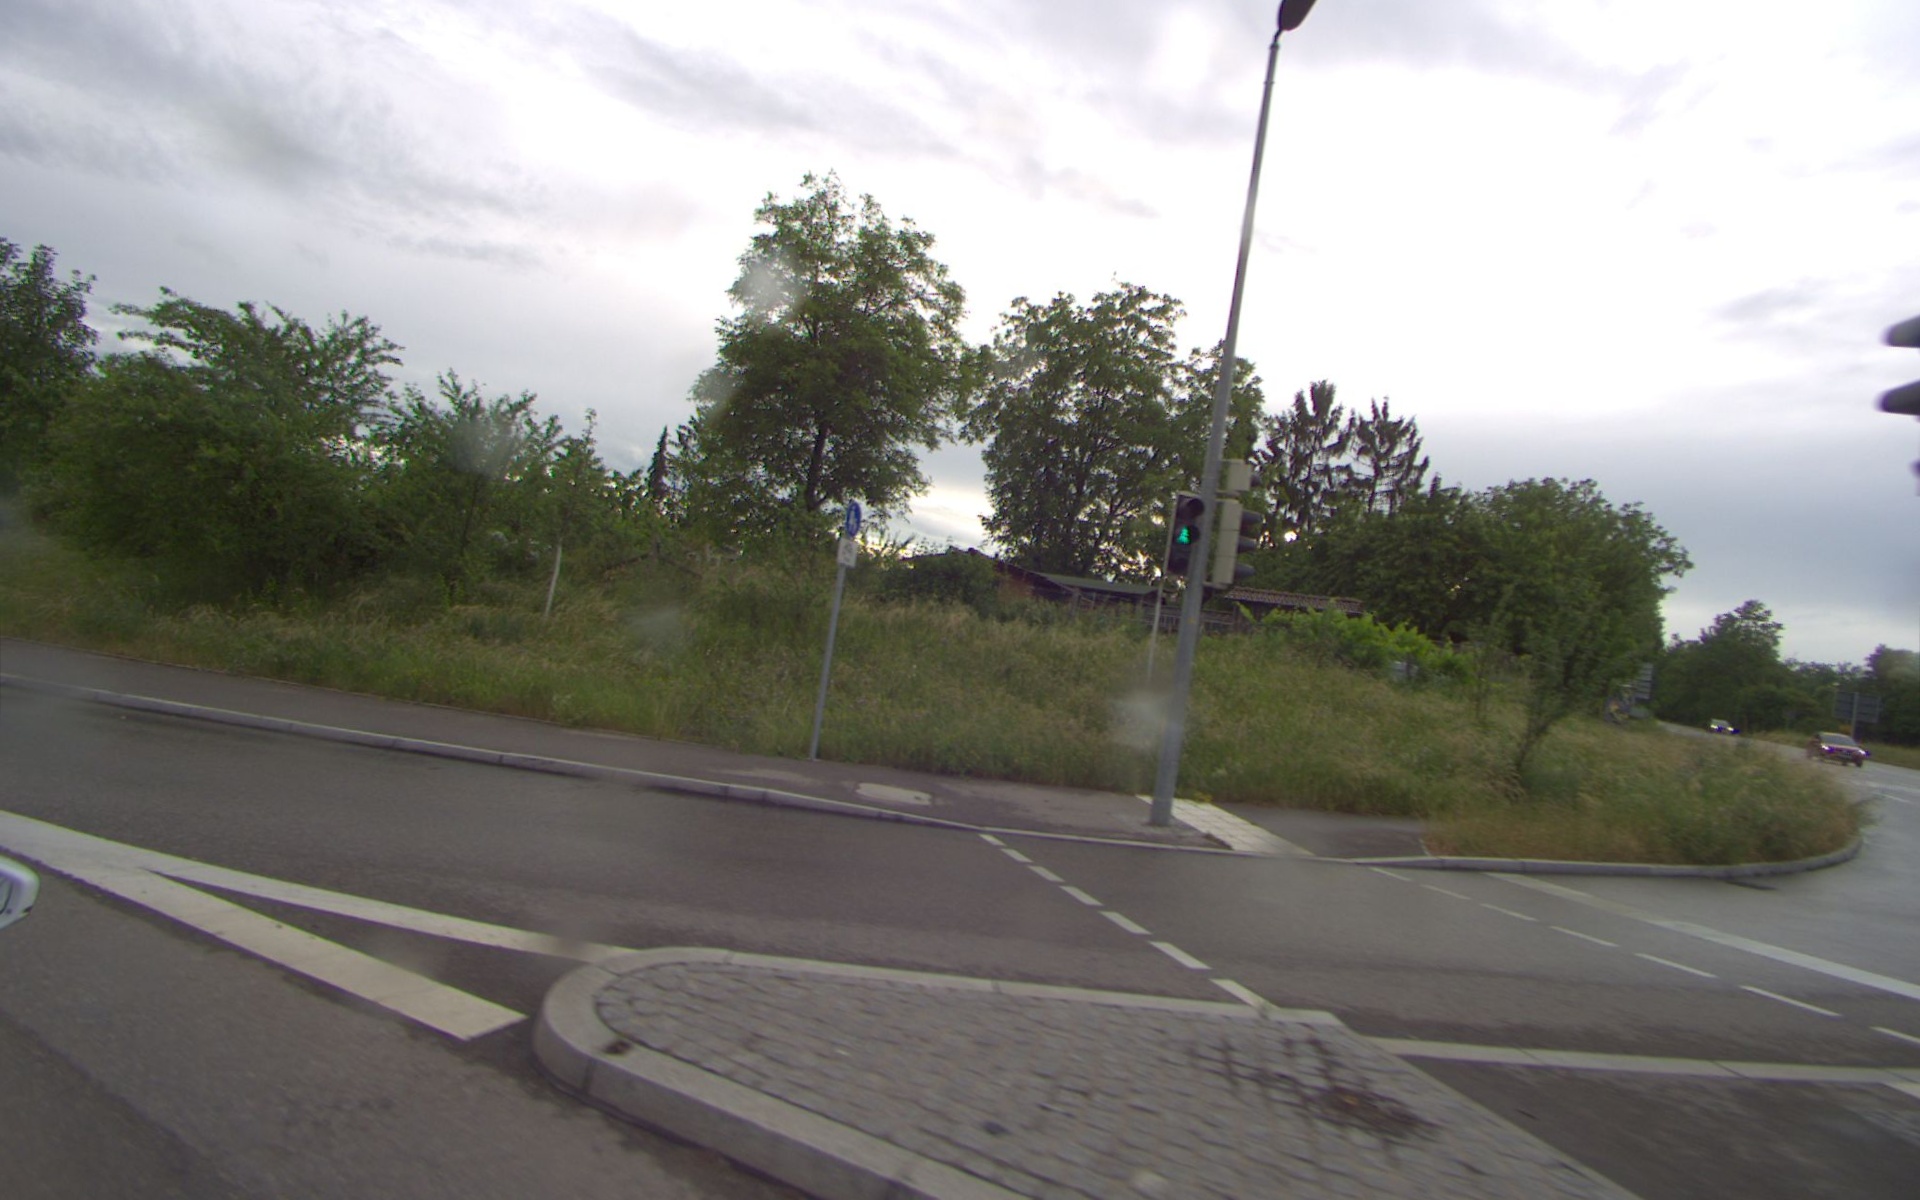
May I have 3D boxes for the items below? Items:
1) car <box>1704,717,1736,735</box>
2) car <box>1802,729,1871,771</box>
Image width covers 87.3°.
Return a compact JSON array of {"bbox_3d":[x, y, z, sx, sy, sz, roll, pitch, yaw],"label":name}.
[{"bbox_3d":[76.792,12.716,101.713,1.847,1.435,3.997,7,-1,28],"label":"car"},{"bbox_3d":[45.215,7.705,51.996,1.792,1.694,4.005,8,-1,31],"label":"car"}]
